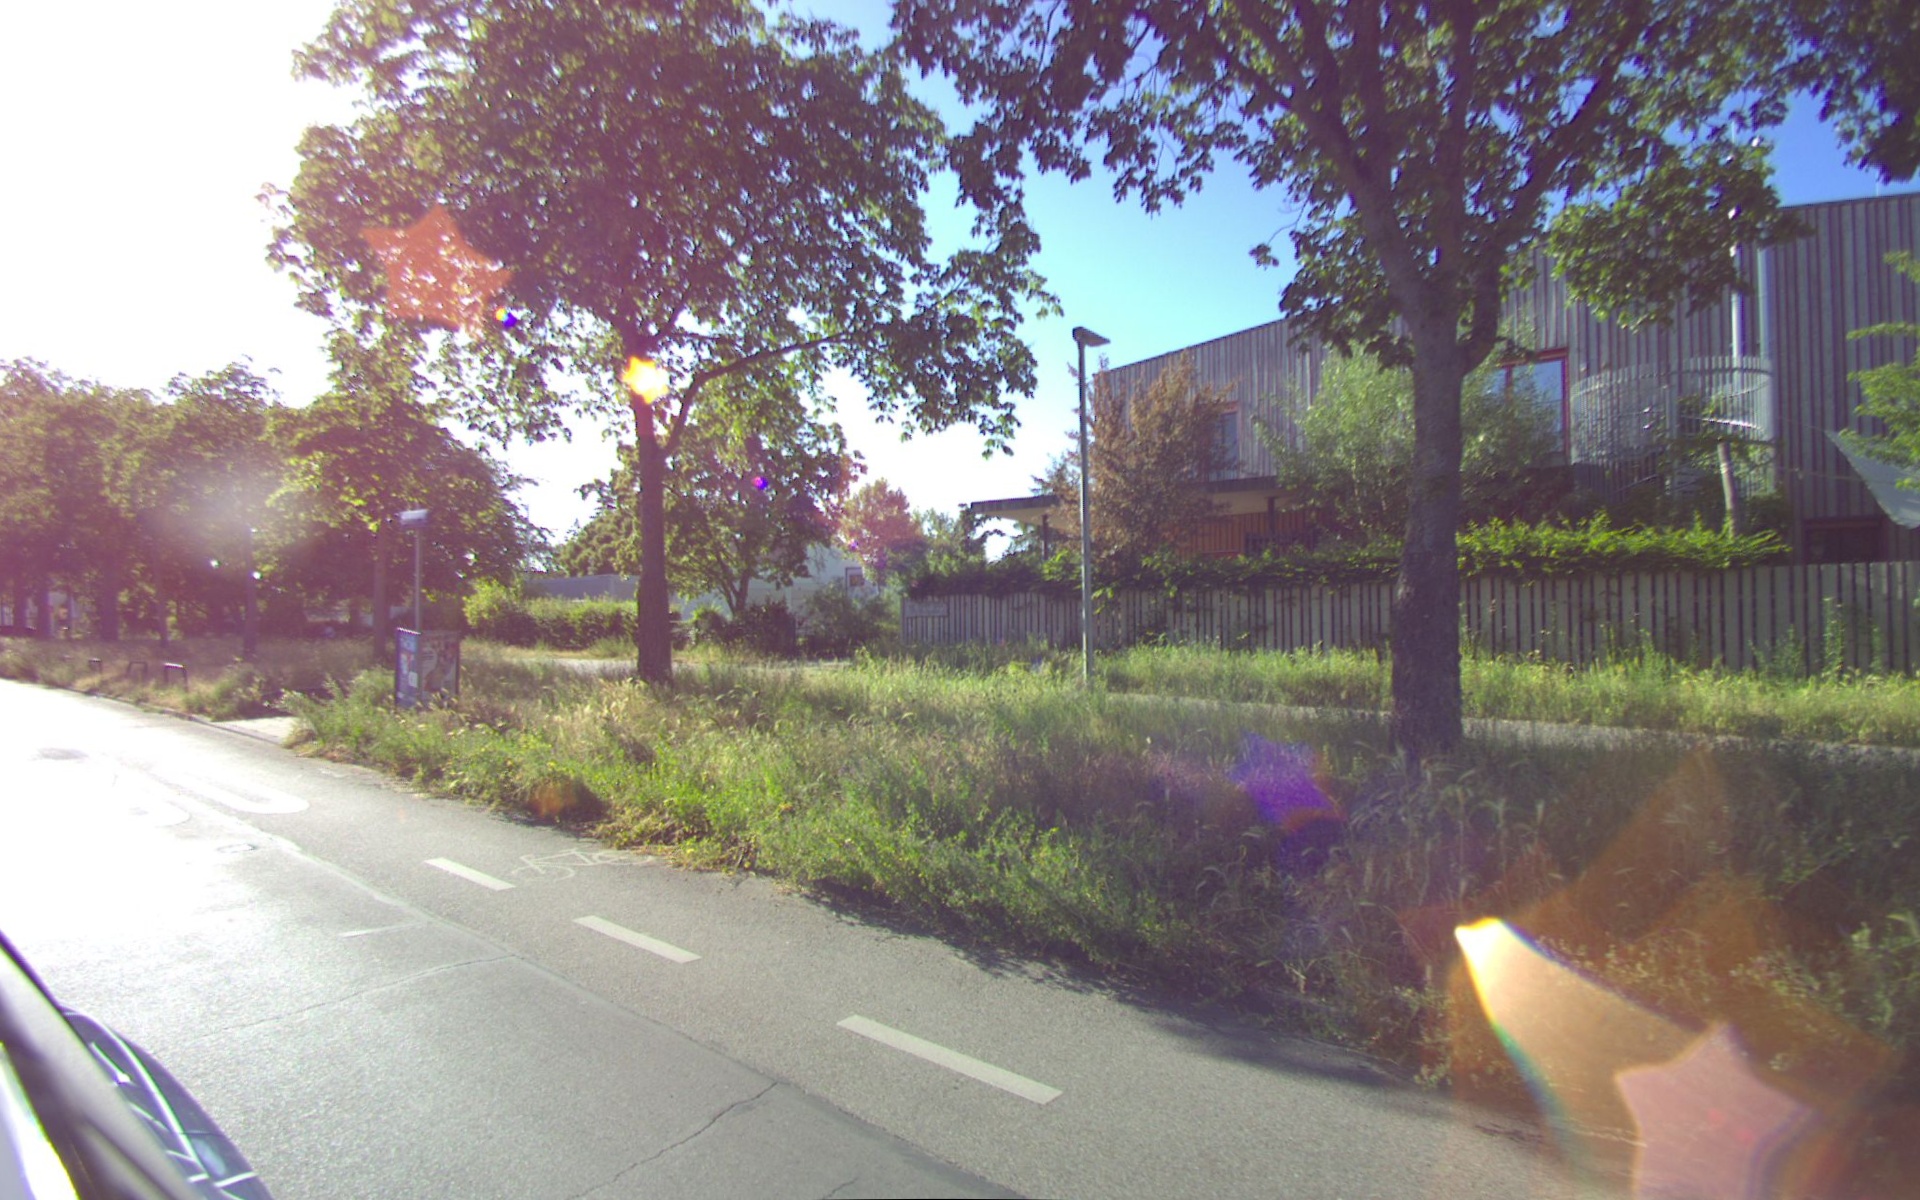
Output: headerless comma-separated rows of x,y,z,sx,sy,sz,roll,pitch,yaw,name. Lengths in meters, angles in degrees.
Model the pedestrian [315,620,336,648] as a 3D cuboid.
-27.831,1.477,44.379,0.521,1.166,0.631,-1,1,40,pedestrian
